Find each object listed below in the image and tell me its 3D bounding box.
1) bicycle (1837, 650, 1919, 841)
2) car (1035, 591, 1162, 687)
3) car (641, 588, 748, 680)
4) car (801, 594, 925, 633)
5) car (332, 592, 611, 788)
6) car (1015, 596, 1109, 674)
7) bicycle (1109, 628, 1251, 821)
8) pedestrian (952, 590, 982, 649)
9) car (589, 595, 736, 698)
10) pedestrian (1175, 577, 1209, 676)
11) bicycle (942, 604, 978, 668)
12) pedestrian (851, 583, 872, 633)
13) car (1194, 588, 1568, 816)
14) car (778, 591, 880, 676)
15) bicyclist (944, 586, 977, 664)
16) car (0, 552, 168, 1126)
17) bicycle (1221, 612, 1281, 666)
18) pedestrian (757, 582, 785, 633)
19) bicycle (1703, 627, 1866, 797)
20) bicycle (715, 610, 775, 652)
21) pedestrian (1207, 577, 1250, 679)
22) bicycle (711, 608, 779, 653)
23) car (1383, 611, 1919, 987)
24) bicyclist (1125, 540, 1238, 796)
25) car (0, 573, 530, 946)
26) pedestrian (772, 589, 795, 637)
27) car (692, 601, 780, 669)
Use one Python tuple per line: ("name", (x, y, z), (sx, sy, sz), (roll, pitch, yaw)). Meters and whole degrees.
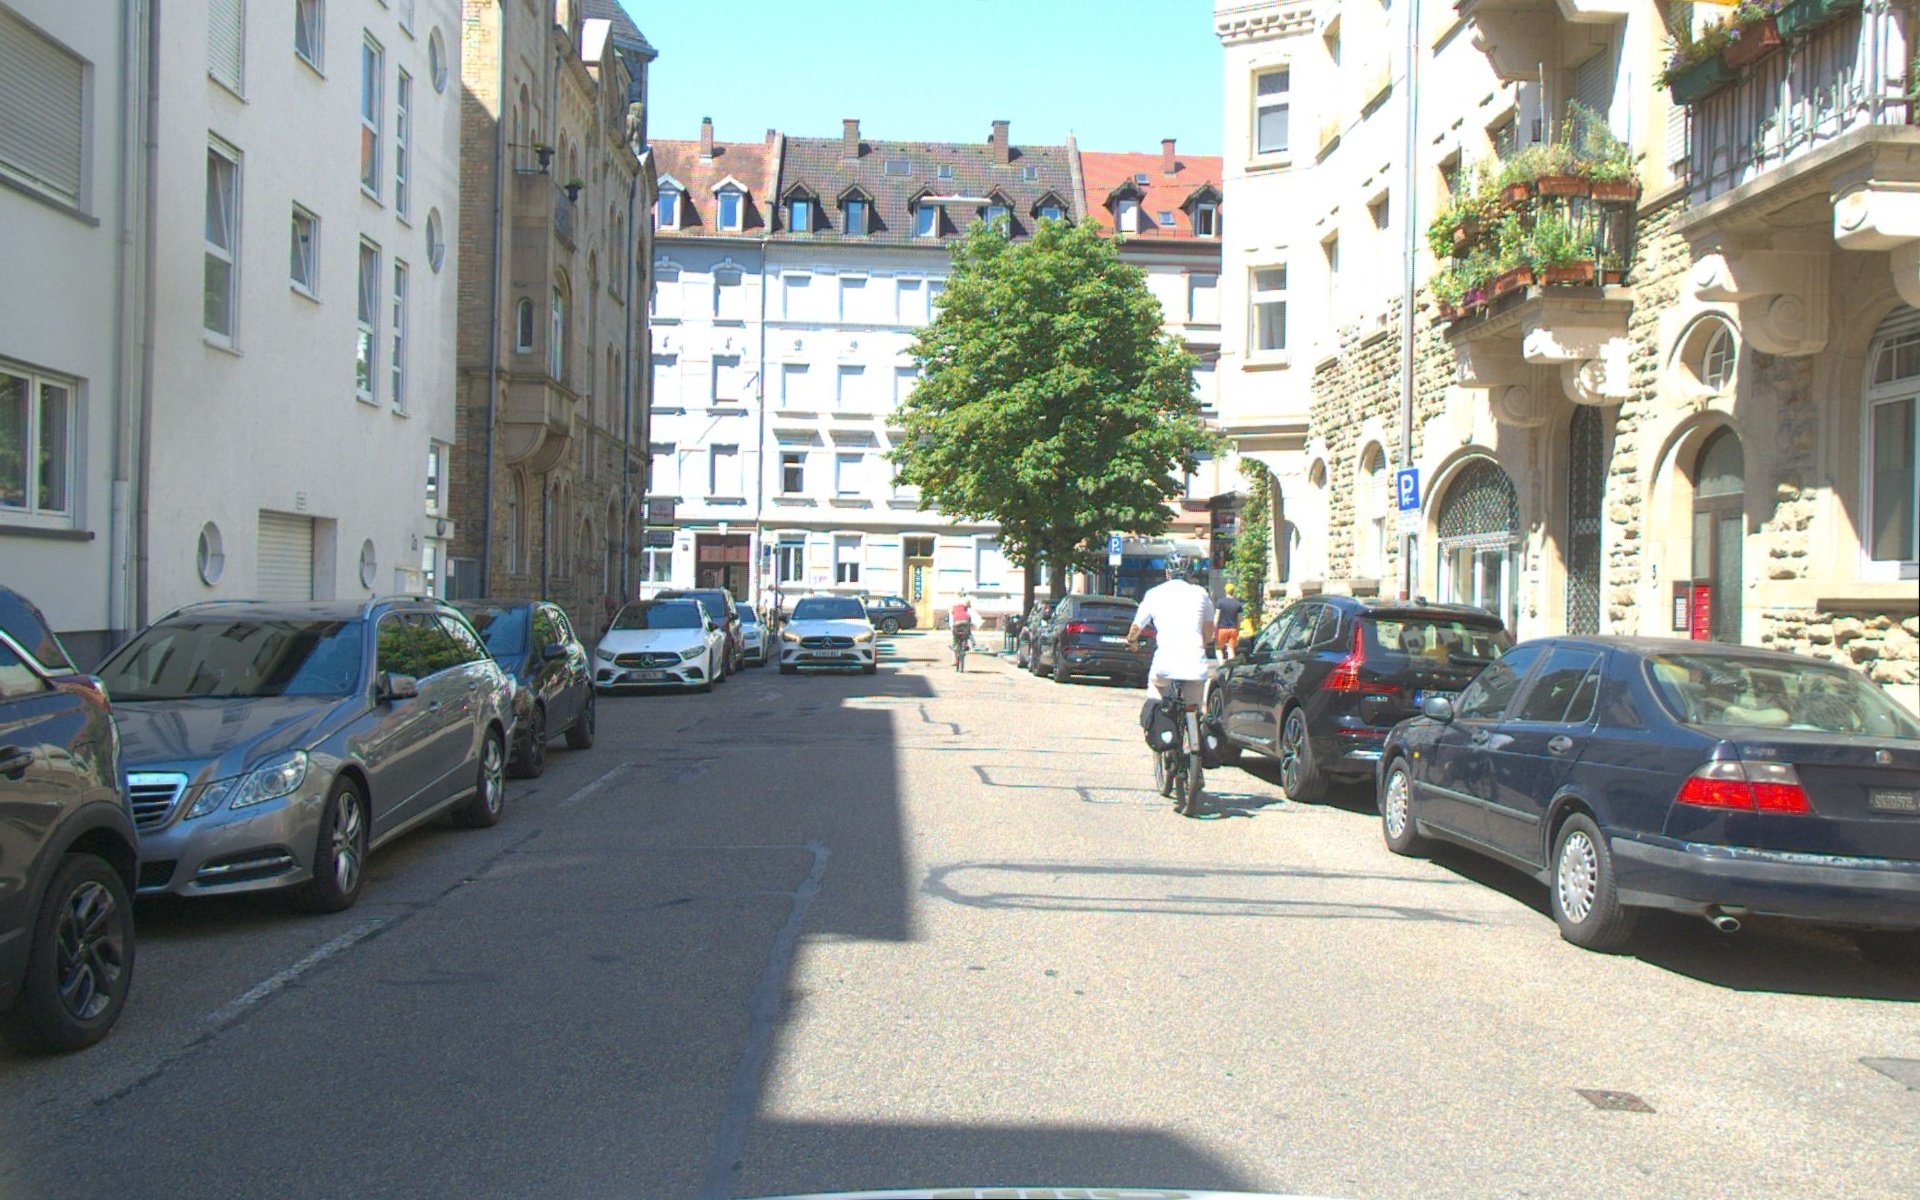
("bicycle", (6.511, 0.969, 10.966), (0.432, 1.229, 1.775), (0, 0, -1))
("car", (2.582, 0.700, 31.713), (1.702, 1.624, 4.344), (3, 0, -4))
("car", (-5.016, 0.615, 31.685), (1.639, 1.610, 4.049), (-1, 0, -4))
("car", (-3.761, 0.522, 64.586), (4.762, 1.462, 1.999), (0, 0, -3))
("car", (-4.295, 0.723, 15.112), (1.536, 1.518, 3.891), (-1, 0, -3))
("car", (2.243, 0.745, 37.180), (1.630, 1.567, 4.176), (3, 0, -2))
("bicycle", (1.599, 0.863, 12.418), (0.638, 1.250, 2.440), (2, 0, -2))
("pedestrian", (0.202, 0.571, 48.764), (0.840, 1.701, 0.774), (0, -1, -2))
("car", (-4.689, 0.696, 26.615), (1.741, 1.485, 4.276), (-1, 0, -3))
("pedestrian", (4.495, 0.513, 32.047), (0.508, 1.901, 0.653), (1, -1, -5))
("bicycle", (-0.014, 0.706, 33.609), (0.638, 1.230, 2.440), (2, 0, -1))
("pedestrian", (-3.759, 0.311, 63.357), (0.712, 1.886, 0.683), (0, -1, -12))
("car", (3.432, 0.756, 14.466), (1.797, 1.594, 4.602), (3, 0, -4))
("car", (-2.460, 0.605, 31.960), (1.804, 1.486, 4.360), (-1, 0, -3))
("bicyclist", (0.007, 0.507, 33.566), (0.657, 1.560, 0.609), (0, -1, -2))
("car", (-3.553, 0.709, 3.915), (1.571, 1.673, 3.975), (-1, 0, -3))
("bicycle", (6.742, 0.885, 38.196), (0.778, 1.189, 2.577), (0, 0, 23))
("pedestrian", (-7.280, 0.292, 63.668), (0.832, 1.922, 0.936), (0, -1, 8))
("bicycle", (6.469, 0.840, 13.067), (0.376, 1.229, 1.775), (0, 0, -1))
("bicycle", (-5.638, 0.808, 43.352), (1.496, 1.025, 0.366), (3, -1, -7))
("pedestrian", (5.151, 0.532, 31.781), (0.587, 1.913, 0.882), (1, -1, -6))
("bicycle", (-5.567, 0.788, 42.897), (1.672, 1.063, 0.413), (3, -1, -7))
("car", (3.629, 0.838, 8.644), (1.483, 1.423, 3.969), (5, 0, -4))
("bicyclist", (1.602, 0.483, 12.033), (0.657, 1.791, 0.609), (2, -1, -2))
("car", (-3.763, 0.687, 9.332), (1.623, 1.545, 4.668), (-1, 0, -3))
("pedestrian", (-6.950, 0.515, 65.038), (0.884, 1.846, 0.959), (0, -1, -8))
("car", (-4.906, 0.747, 36.691), (1.668, 1.376, 4.510), (-1, 0, -5))
